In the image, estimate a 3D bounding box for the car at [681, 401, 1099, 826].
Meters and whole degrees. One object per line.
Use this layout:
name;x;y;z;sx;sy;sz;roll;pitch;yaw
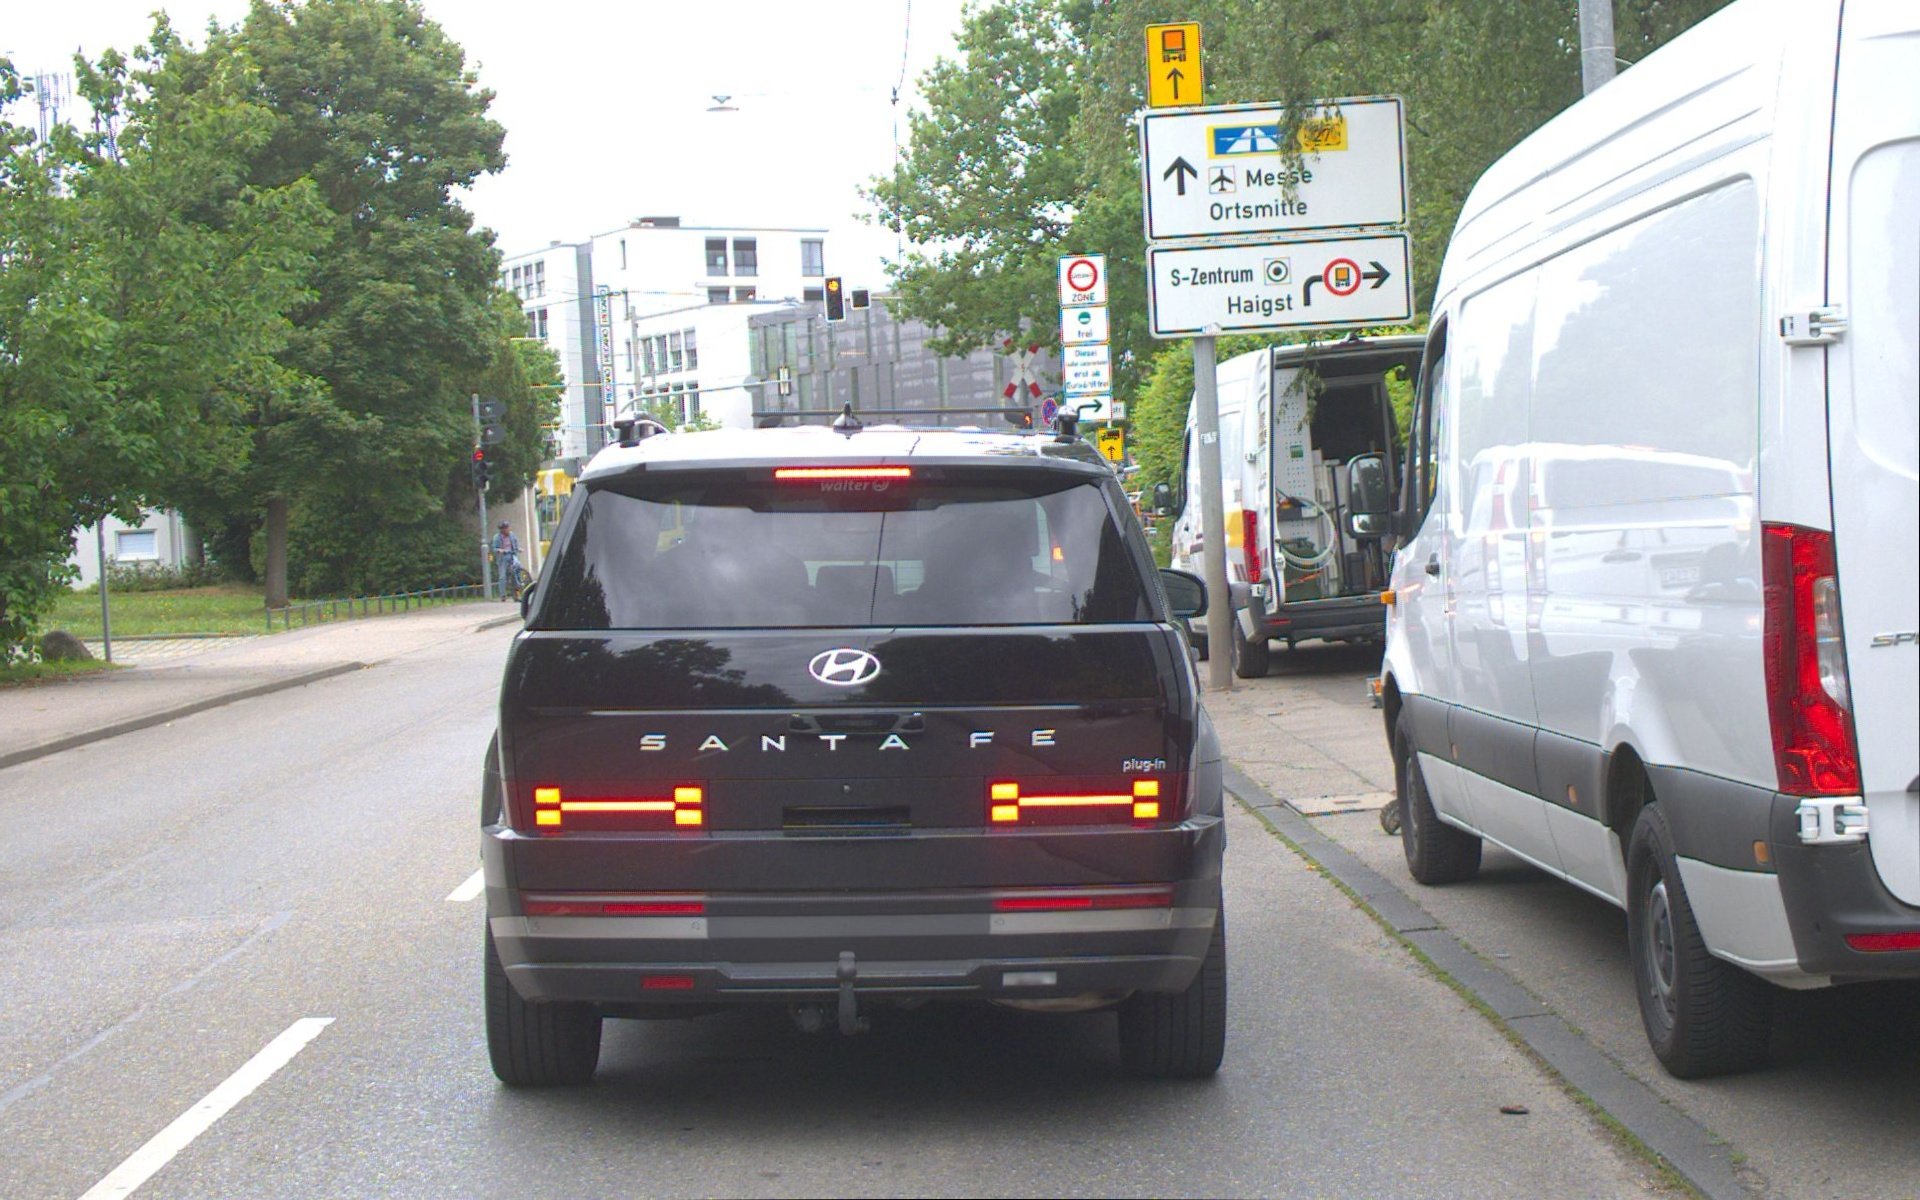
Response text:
car;-0.381;0.015;18.393;1.963;1.994;4.001;-1;1;-1

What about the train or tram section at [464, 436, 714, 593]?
train or tram section;-12.374;-2.575;111.985;3.192;4.507;18.688;-1;0;-22

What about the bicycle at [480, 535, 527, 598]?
bicycle;-9.527;-0.689;71.678;0.675;1.275;2.502;-1;0;-14

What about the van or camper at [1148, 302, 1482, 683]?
van or camper;2.860;-0.890;28.932;1.963;2.787;5.287;-4;1;-1

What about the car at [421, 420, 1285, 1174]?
car;-0.293;0.404;9.915;1.963;1.705;4.001;-1;1;-1

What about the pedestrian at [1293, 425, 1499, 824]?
pedestrian;1.981;0.105;15.666;0.617;1.737;0.605;-5;1;-13

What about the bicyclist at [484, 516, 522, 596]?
bicyclist;-9.531;-0.909;71.708;0.675;1.653;0.859;-1;0;-14

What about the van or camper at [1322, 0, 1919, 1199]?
van or camper;2.549;-0.194;10.111;1.963;2.618;6.359;-4;1;-1
